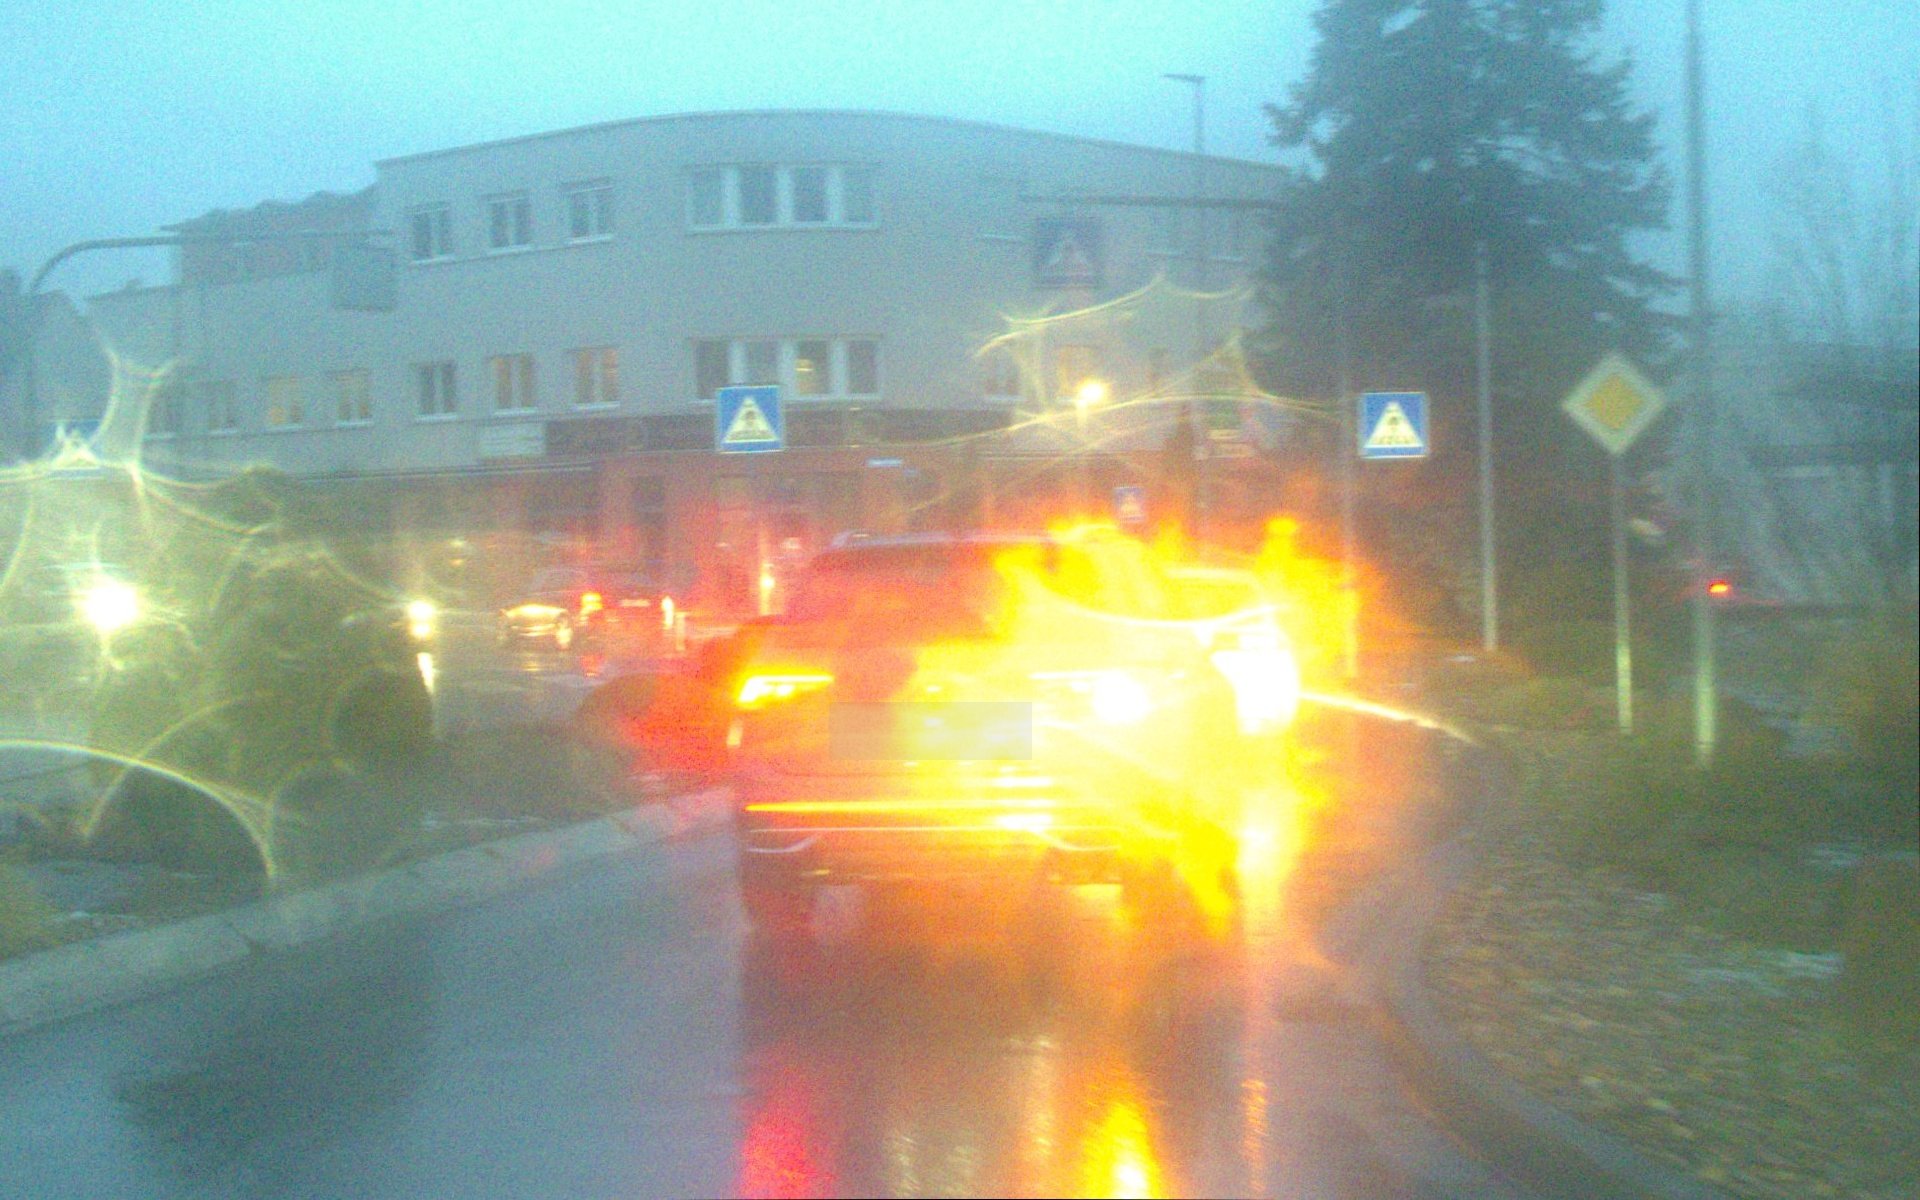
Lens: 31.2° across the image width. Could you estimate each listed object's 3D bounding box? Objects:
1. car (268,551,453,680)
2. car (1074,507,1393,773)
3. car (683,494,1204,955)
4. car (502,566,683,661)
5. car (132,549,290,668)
[{"bbox_3d":[-10.433,0.221,59.589,2.163,2.053,4.573,-2,2,-22],"label":"car"},{"bbox_3d":[2.190,0.226,26.295,2.164,1.683,4.571,-2,3,7],"label":"car"},{"bbox_3d":[-0.069,0.418,15.062,1.944,1.712,4.000,-1,2,0],"label":"car"},{"bbox_3d":[-6.422,0.255,59.586,1.882,1.543,4.572,-2,0,-22],"label":"car"},{"bbox_3d":[-14.157,0.111,64.808,2.163,2.053,4.573,-2,2,-21],"label":"car"}]
